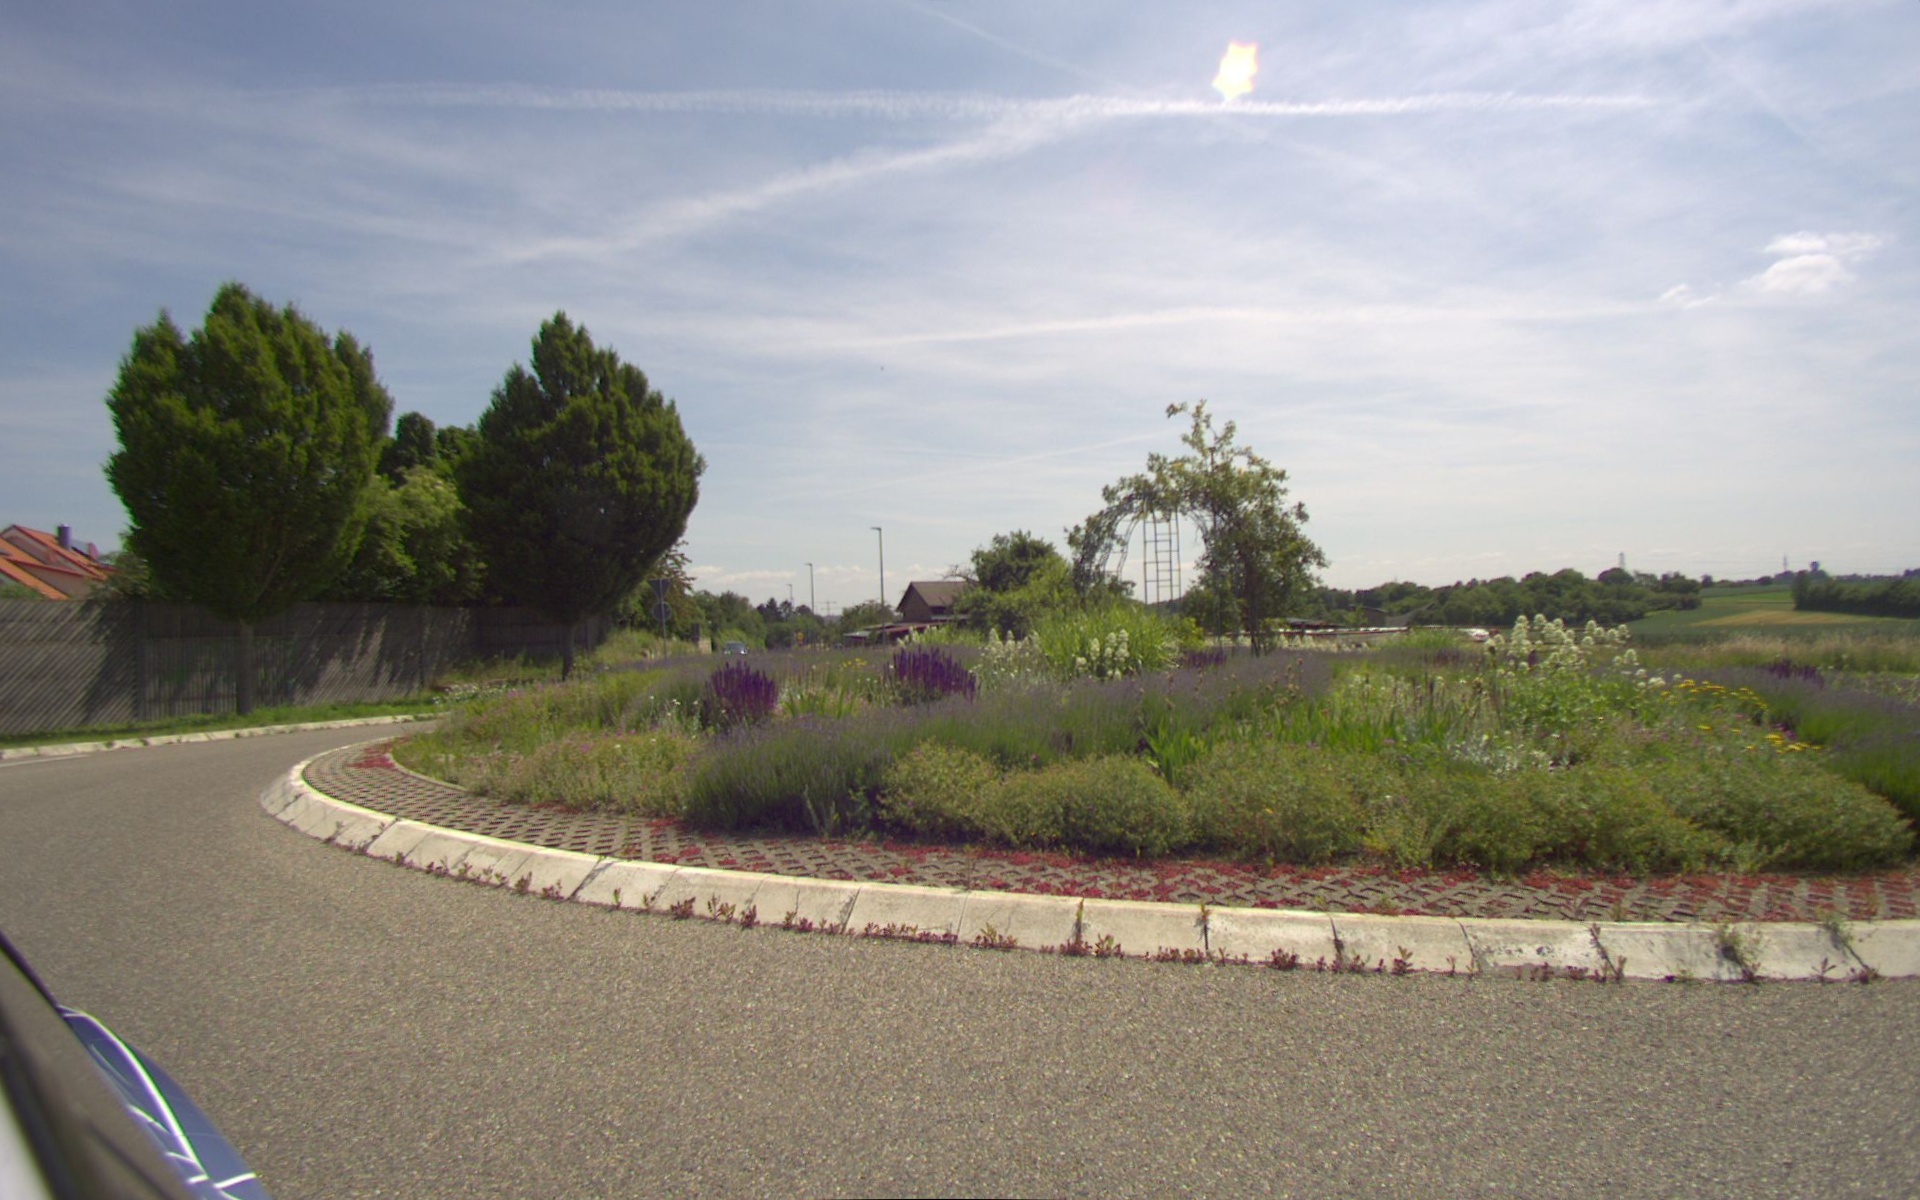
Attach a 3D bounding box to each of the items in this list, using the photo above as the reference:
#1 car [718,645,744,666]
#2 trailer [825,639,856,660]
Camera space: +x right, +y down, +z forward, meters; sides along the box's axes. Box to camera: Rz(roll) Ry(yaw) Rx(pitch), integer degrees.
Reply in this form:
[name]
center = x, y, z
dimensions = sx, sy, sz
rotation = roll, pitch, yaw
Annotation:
[car]
center = -18.379, 4.413, 81.038
dimensions = 1.588, 1.626, 4.234
rotation = 1, -2, -18
[trailer]
center = -10.673, 4.399, 90.159
dimensions = 2.125, 1.716, 5.042
rotation = 0, -3, -14
